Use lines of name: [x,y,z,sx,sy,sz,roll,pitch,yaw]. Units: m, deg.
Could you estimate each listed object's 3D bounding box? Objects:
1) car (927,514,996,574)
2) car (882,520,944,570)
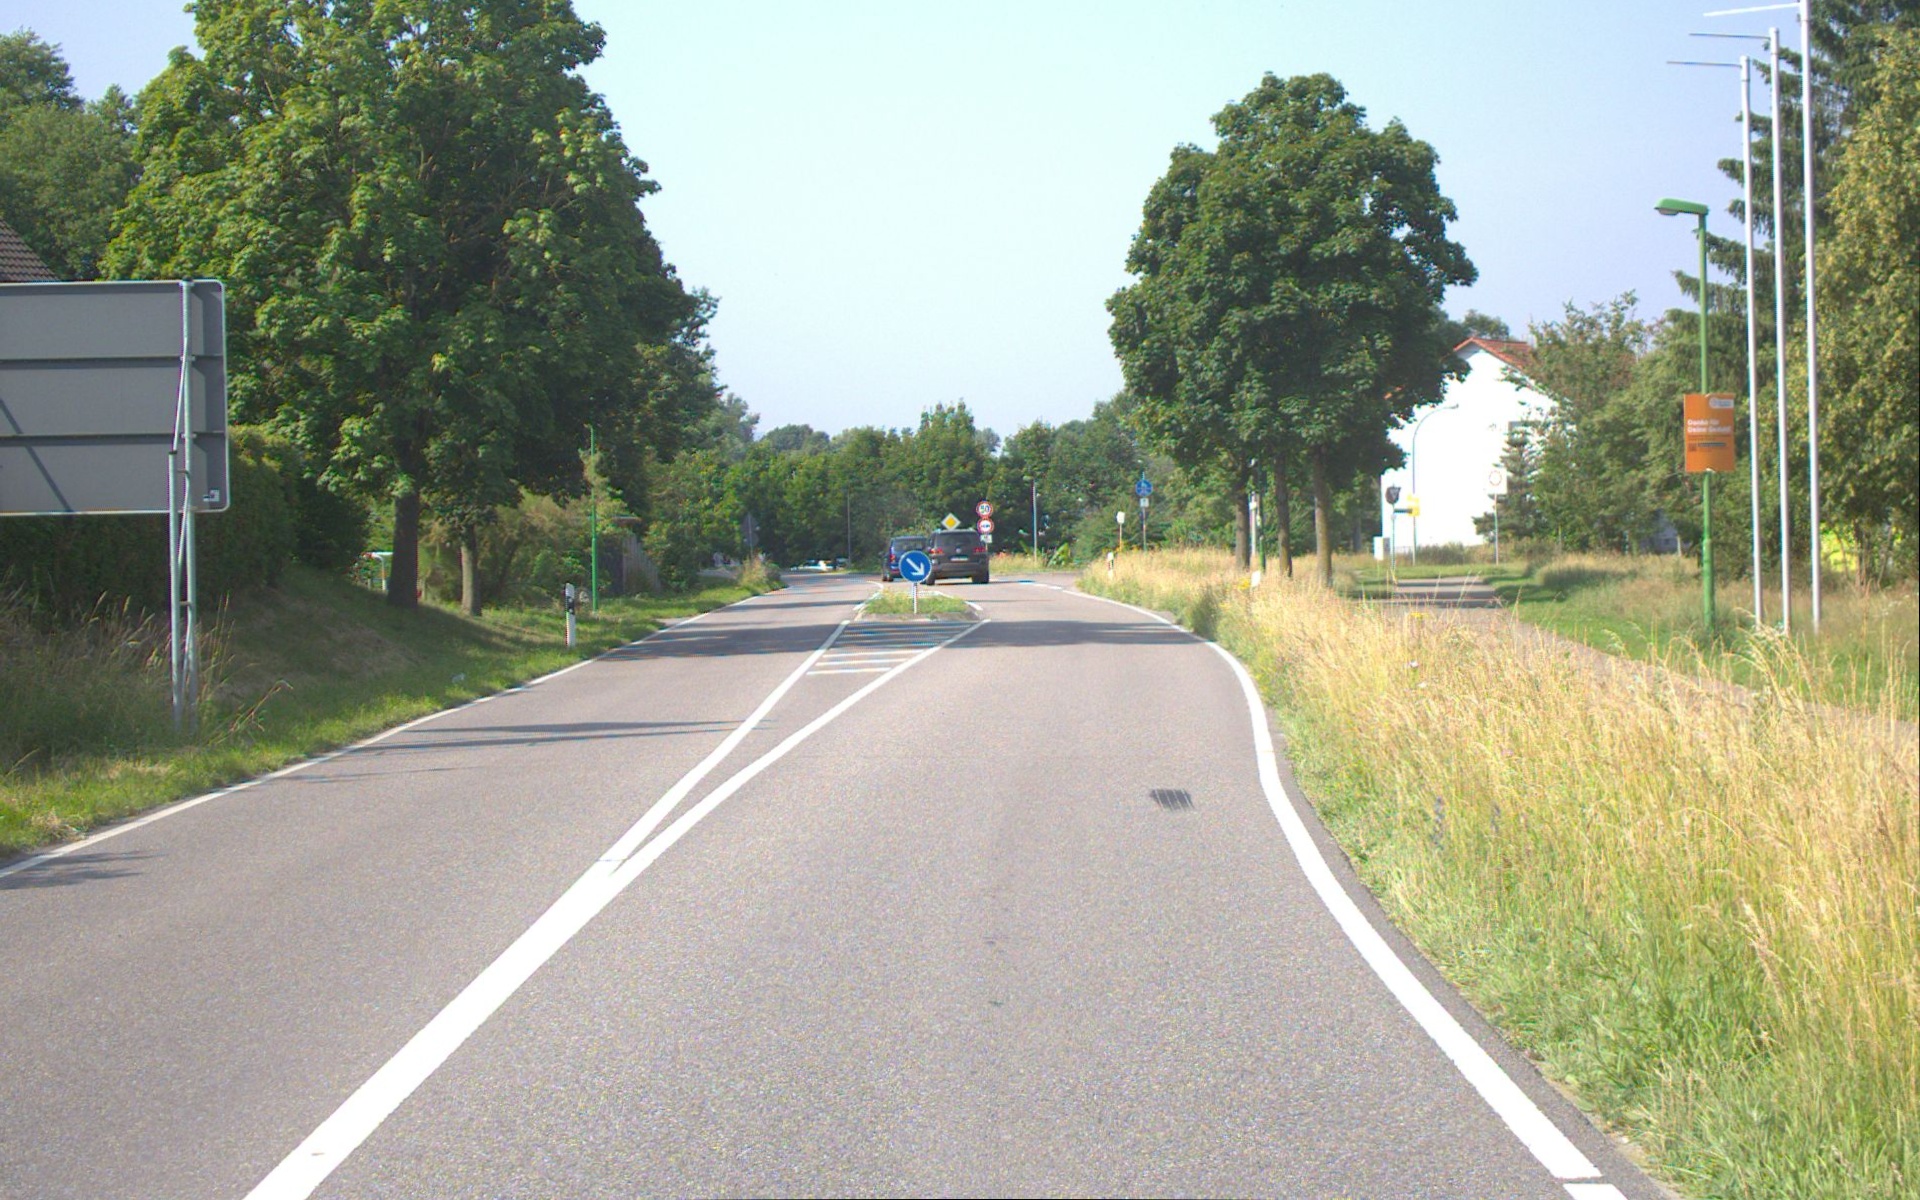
car: [0.017,-1.745,105.383,1.925,1.765,4.001,-1,2,-3]
car: [-1.746,-2.027,126.635,2.004,1.765,4.001,-1,2,-4]
